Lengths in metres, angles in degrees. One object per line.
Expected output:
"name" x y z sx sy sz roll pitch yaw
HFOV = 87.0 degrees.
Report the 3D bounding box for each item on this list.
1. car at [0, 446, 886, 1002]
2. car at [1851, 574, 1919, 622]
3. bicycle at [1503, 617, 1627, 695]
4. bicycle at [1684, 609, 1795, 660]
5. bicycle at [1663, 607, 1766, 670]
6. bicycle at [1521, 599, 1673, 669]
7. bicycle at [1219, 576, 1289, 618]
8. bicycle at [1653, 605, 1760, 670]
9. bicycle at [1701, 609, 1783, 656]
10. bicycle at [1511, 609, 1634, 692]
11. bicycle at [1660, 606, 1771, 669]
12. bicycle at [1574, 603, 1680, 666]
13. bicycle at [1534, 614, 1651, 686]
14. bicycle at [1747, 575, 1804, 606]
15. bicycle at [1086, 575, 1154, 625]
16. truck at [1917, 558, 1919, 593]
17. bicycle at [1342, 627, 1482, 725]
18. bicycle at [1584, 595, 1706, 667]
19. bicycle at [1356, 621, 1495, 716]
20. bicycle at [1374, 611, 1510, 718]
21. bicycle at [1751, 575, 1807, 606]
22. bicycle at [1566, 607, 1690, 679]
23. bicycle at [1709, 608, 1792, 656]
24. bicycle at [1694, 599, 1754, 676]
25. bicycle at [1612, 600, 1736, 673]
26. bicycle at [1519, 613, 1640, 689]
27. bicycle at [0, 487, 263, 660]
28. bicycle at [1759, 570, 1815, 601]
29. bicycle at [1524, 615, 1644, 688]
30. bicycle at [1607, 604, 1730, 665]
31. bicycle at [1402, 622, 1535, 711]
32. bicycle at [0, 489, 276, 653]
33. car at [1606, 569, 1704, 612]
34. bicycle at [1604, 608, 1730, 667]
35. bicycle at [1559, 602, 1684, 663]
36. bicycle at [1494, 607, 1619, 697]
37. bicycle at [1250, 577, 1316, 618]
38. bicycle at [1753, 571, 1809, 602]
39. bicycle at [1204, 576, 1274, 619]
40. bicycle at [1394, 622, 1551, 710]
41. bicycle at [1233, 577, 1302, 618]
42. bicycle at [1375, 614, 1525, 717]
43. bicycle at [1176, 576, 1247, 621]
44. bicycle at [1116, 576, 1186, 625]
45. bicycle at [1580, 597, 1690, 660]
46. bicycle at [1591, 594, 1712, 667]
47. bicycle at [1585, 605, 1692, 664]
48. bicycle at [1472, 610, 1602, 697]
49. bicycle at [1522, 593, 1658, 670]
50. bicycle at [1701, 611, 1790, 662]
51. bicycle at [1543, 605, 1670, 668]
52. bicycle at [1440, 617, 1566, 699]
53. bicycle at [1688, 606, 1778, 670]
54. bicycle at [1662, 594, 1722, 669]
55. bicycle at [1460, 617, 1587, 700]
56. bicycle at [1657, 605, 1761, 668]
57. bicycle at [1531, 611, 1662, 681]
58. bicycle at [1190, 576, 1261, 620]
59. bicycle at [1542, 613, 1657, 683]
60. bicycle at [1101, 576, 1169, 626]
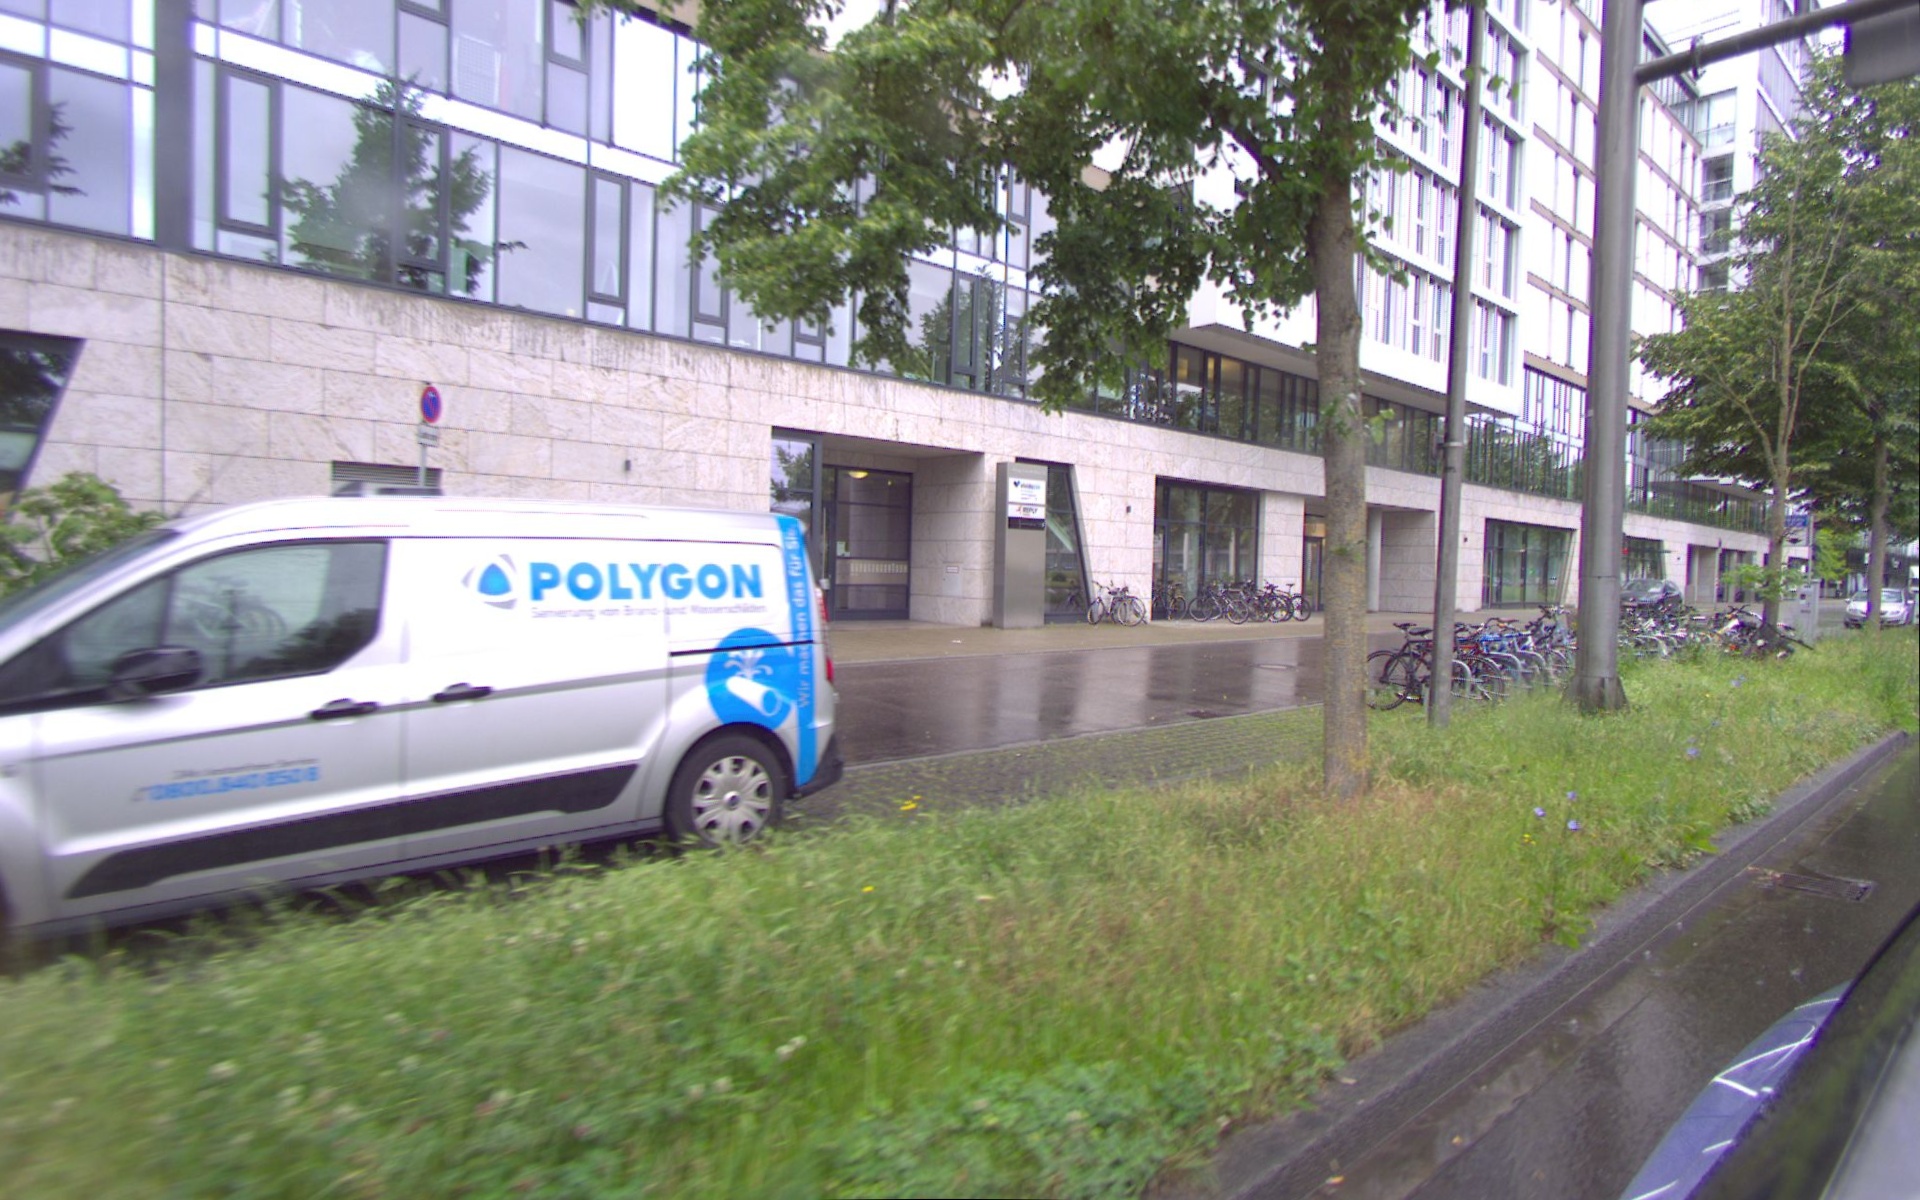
"car" -2.787 0.353 4.838 4.606 1.813 1.910 0 3 -41
"car" 33.640 -0.040 36.522 1.878 1.524 4.658 4 1 38
"bicycle" 7.555 0.679 12.678 0.270 0.859 1.291 0 2 -41
"bicycle" 15.196 0.654 19.779 0.270 0.859 1.678 0 3 -36
"bicycle" 13.770 0.680 18.499 0.342 1.030 1.444 1 2 -34
"bicycle" 9.141 0.468 14.600 0.270 0.859 1.820 0 3 -41
"bicycle" 7.872 -0.096 27.159 0.531 1.041 1.812 0 3 -38
"bicycle" 13.202 0.641 17.930 0.342 1.030 1.456 0 2 -38
"bicycle" 15.911 0.657 20.623 0.270 0.842 1.295 1 3 -29
"bicycle" 7.792 0.624 12.919 0.270 0.930 1.291 0 3 -41
"bicycle" 14.062 0.675 18.869 0.400 1.030 1.580 0 3 -34
"bicycle" 10.195 0.508 15.504 0.270 0.859 1.291 0 3 -41
"bicycle" 8.495 0.650 13.627 0.270 0.859 1.291 0 2 -41
"bicycle" 52.798 -0.618 65.568 0.694 1.883 2.690 1 3 -35
"bicycle" 3.626 -0.017 23.081 0.415 1.041 1.699 0 3 -38
"truck" 98.635 -2.361 101.708 8.406 3.483 3.028 -1 3 -44
"bicycle" 4.618 0.756 10.402 0.270 0.859 1.291 0 2 -41
"bicycle" 11.362 0.495 16.821 0.292 1.066 1.615 0 3 -42
"bicycle" 4.851 0.690 10.602 0.305 0.859 1.291 0 2 -41
"bicycle" 5.144 0.665 10.860 0.270 1.008 1.291 0 3 -41
"bicycle" 53.389 -0.622 66.005 0.694 1.883 2.690 1 3 -35
"bicycle" 10.584 0.653 16.078 0.270 1.035 1.618 -1 2 -41
"bicycle" 16.229 0.645 20.805 0.295 0.884 1.295 1 3 -29
"bicycle" 9.119 0.430 12.064 1.270 0.859 0.275 0 3 -41
"bicycle" 12.455 0.614 17.699 1.706 1.116 0.279 4 3 44
"bicycle" 8.020 0.645 13.141 0.270 0.859 1.291 0 3 -41
"bicycle" -9.435 -0.260 10.894 3.065 1.743 0.646 3 1 -42
"bicycle" 54.691 -0.969 66.933 0.694 1.883 2.690 1 3 -35
"bicycle" 8.240 0.661 13.397 0.348 0.859 1.291 0 2 -41
"bicycle" 12.184 0.571 17.445 1.706 0.960 0.309 2 2 44
"bicycle" 5.646 0.720 11.291 0.270 0.859 1.291 0 2 -41
"bicycle" -9.791 -0.295 11.627 3.065 1.743 0.774 3 1 -42
"car" 28.240 -0.376 41.055 4.945 1.519 1.999 1 4 -41
"bicycle" 11.972 0.613 17.182 0.308 0.859 1.708 0 3 -44
"bicycle" 10.354 0.490 15.883 0.270 0.859 1.618 -1 2 -41
"bicycle" 7.332 0.617 12.476 0.270 1.001 1.291 0 2 -41
"bicycle" 8.898 -0.083 27.967 0.394 1.041 1.812 0 3 -38
"bicycle" 53.955 -0.907 66.554 0.694 1.883 2.690 1 3 -35
"bicycle" 7.348 -0.085 26.739 0.531 1.041 1.812 0 3 -38
"bicycle" 5.864 0.731 11.661 0.305 0.859 1.598 0 2 -41
"bicycle" 8.341 -0.082 27.531 0.531 1.041 1.812 0 3 -38
"bicycle" 5.353 0.688 11.122 0.305 0.992 1.463 0 2 -41
"bicycle" 6.437 -0.060 26.020 0.531 1.041 1.812 0 3 -38
"bicycle" 4.453 -0.004 23.718 0.404 1.041 1.755 0 3 -38
"bicycle" 10.821 0.442 16.265 0.270 0.908 1.412 0 3 -42
"bicycle" 11.608 0.489 17.034 0.292 1.110 1.615 0 3 -42
"bicycle" 11.118 0.548 16.610 0.270 0.859 1.407 0 3 -42
"bicycle" 7.017 0.627 12.351 0.270 0.921 1.328 0 3 -41
"bicycle" 9.277 0.438 14.965 0.315 1.000 1.646 0 3 -41
"bicycle" 15.040 0.686 19.413 0.270 0.859 1.293 0 3 -35
"bicycle" 9.827 0.529 15.437 0.270 0.859 1.618 -1 2 -41
"bicycle" 6.410 0.662 11.990 0.270 0.859 1.291 0 2 -41
"bicycle" 14.461 0.693 18.964 0.270 1.087 1.294 0 3 -32
"bicycle" 8.893 0.364 12.286 1.270 0.859 0.275 0 3 -41
"bicycle" 6.750 0.683 12.163 0.270 0.859 1.291 0 3 -41
"bicycle" 13.473 0.636 18.245 0.342 1.030 1.444 0 2 -35
"bicycle" 8.922 0.622 14.229 0.272 0.859 1.525 0 2 -41
"bicycle" 6.905 -0.072 26.393 0.531 1.041 1.812 0 3 -38
"bicycle" 8.758 0.637 13.901 0.270 0.859 1.291 0 2 -41
"bicycle" 4.024 0.005 23.398 0.415 1.041 1.699 0 3 -38
